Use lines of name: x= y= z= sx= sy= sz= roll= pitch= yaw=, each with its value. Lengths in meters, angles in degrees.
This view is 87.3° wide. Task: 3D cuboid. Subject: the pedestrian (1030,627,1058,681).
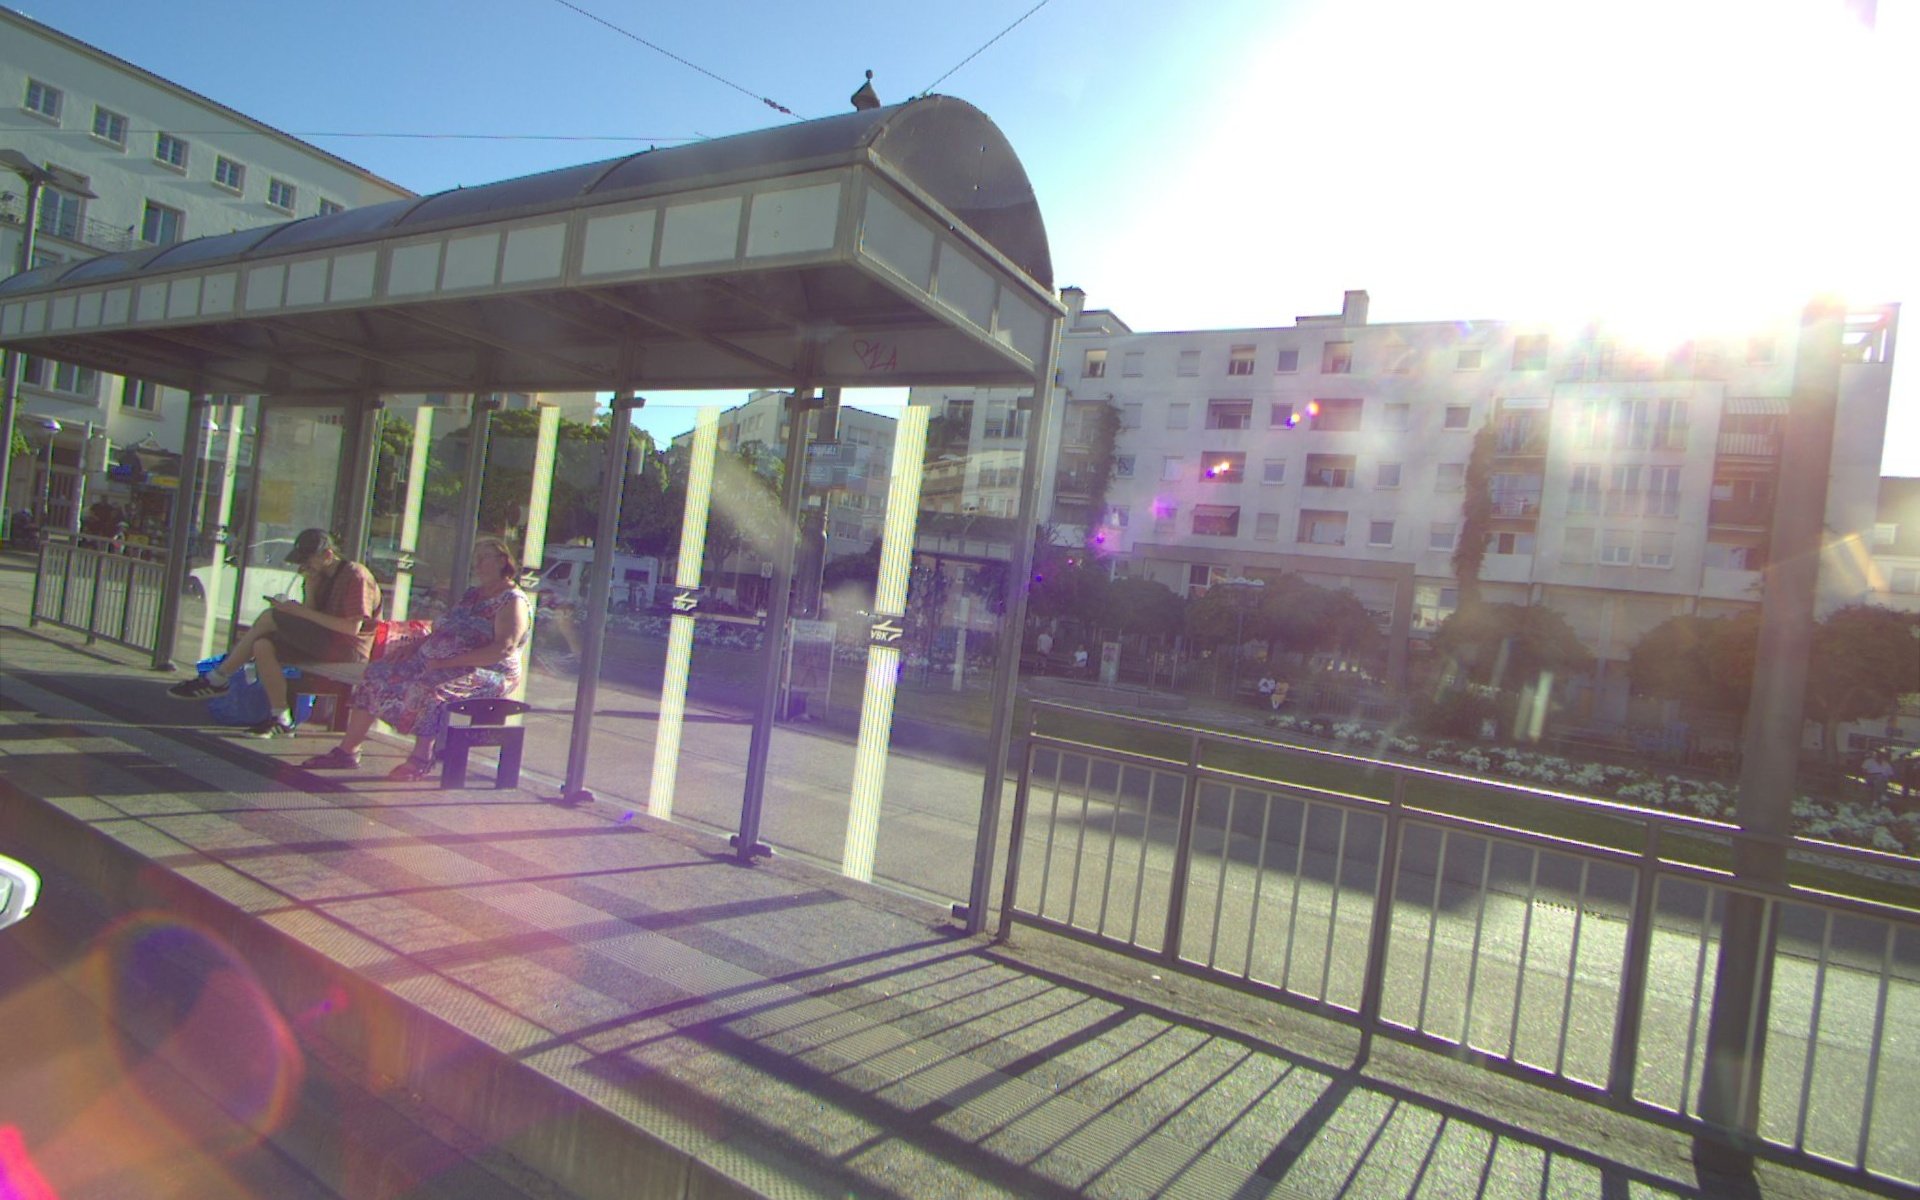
pedestrian: x=2.915 y=1.862 z=34.744 sx=0.661 sy=1.745 sz=1.028 roll=7 pitch=0 yaw=11

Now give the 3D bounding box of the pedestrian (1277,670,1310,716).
pedestrian: x=10.317 y=2.875 z=31.139 sx=0.718 sy=1.287 sz=0.745 roll=7 pitch=0 yaw=11

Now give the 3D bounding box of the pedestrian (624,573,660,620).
pedestrian: x=-11.670 y=-0.132 z=36.918 sx=0.651 sy=1.604 sz=0.902 roll=7 pitch=0 yaw=35

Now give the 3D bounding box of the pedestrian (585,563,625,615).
pedestrian: x=-11.950 y=-0.375 z=33.849 sx=0.651 sy=1.605 sz=0.902 roll=7 pitch=0 yaw=35

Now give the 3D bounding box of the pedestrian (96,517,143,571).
pedestrian: x=-25.197 y=-1.669 z=30.165 sx=0.742 sy=1.427 sz=0.731 roll=11 pitch=1 yaw=32

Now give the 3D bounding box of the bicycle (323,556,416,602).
bicycle: x=-18.503 y=-0.644 z=31.578 sx=0.709 sy=1.073 sz=2.319 roll=7 pitch=-3 yaw=36

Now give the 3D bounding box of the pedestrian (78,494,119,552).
pedestrian: x=-29.376 y=-2.624 z=34.306 sx=0.667 sy=1.861 sz=0.785 roll=7 pitch=0 yaw=35

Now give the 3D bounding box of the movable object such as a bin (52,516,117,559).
movable object such as a bin: x=-28.128 y=-2.009 z=32.323 sx=1.197 sy=1.167 sz=1.200 roll=7 pitch=-1 yaw=32

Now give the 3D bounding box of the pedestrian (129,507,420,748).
pedestrian: x=-4.059 y=0.183 z=6.002 sx=0.908 sy=1.238 sz=1.001 roll=6 pitch=-4 yaw=32

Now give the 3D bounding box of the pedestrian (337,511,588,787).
pedestrian: x=-2.687 y=0.284 z=5.497 sx=0.613 sy=1.348 sz=0.861 roll=6 pitch=-4 yaw=31

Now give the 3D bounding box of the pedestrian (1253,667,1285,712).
pedestrian: x=9.612 y=2.778 z=31.283 sx=0.718 sy=1.287 sz=0.745 roll=7 pitch=0 yaw=11

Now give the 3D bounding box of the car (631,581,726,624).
car: x=-13.887 y=0.128 z=49.839 sx=1.974 sy=1.529 sz=3.982 roll=6 pitch=-3 yaw=43

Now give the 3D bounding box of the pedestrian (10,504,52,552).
pedestrian: x=-27.989 y=-2.170 z=30.318 sx=0.736 sy=1.332 sz=0.622 roll=7 pitch=0 yaw=-35

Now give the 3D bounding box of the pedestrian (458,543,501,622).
pedestrian: x=-11.255 y=-0.407 z=23.568 sx=0.520 sy=1.765 sz=0.557 roll=6 pitch=-1 yaw=42

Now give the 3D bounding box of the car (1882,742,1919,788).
car: x=36.642 y=6.319 z=36.857 sx=3.941 sy=1.535 sz=1.993 roll=7 pitch=-1 yaw=38

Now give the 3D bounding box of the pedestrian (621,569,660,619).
pedestrian: x=-11.056 y=-0.216 z=34.858 sx=0.651 sy=1.605 sz=0.902 roll=7 pitch=0 yaw=35

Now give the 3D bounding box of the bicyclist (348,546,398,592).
bicyclist: x=-18.450 y=-0.971 z=31.607 sx=0.939 sy=1.239 sz=0.931 roll=7 pitch=-2 yaw=37

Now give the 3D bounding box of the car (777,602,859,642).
car: x=-6.702 y=1.077 z=47.963 sx=1.964 sy=1.503 sz=4.000 roll=7 pitch=-1 yaw=23

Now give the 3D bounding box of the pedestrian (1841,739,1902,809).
pedestrian: x=21.574 y=4.096 z=23.842 sx=0.923 sy=1.428 sz=1.521 roll=7 pitch=-1 yaw=42

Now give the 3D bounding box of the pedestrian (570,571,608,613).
pedestrian: x=-12.597 y=-0.254 z=34.193 sx=0.595 sy=1.295 sz=0.902 roll=7 pitch=-1 yaw=36

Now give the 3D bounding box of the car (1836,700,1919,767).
car: x=43.989 y=6.280 z=45.138 sx=6.284 sy=2.585 sz=2.813 roll=7 pitch=-1 yaw=27

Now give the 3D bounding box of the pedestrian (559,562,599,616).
pedestrian: x=-13.092 y=-0.383 z=34.591 sx=0.684 sy=1.705 sz=0.902 roll=7 pitch=0 yaw=35

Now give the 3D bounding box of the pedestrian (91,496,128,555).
pedestrian: x=-28.594 y=-2.509 z=33.831 sx=0.649 sy=1.861 sz=0.653 roll=7 pitch=0 yaw=35

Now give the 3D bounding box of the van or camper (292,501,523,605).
van or camper: x=-20.446 y=-1.624 z=37.709 sx=2.331 sy=2.780 sz=7.132 roll=9 pitch=0 yaw=32

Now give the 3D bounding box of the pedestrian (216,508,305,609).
pedestrian: x=-14.481 y=-0.854 z=20.837 sx=1.110 sy=1.900 sz=0.983 roll=6 pitch=-1 yaw=29

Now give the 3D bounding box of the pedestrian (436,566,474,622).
pedestrian: x=-11.397 y=-0.142 z=22.706 sx=0.550 sy=1.182 sz=0.469 roll=6 pitch=-2 yaw=40

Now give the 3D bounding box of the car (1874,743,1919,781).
car: x=39.840 y=6.804 z=40.713 sx=3.941 sy=1.303 sz=1.993 roll=7 pitch=-1 yaw=38

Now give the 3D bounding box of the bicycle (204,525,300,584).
bicycle: x=-23.527 y=-1.480 z=33.482 sx=0.714 sy=1.548 sz=2.391 roll=7 pitch=-3 yaw=31

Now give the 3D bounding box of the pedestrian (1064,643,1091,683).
pedestrian: x=4.079 y=2.168 z=34.856 sx=0.718 sy=1.287 sz=1.042 roll=7 pitch=0 yaw=11

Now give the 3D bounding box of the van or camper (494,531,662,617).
van or camper: x=-16.491 y=-1.044 z=43.832 sx=2.340 sy=2.873 sz=6.411 roll=7 pitch=-1 yaw=35
